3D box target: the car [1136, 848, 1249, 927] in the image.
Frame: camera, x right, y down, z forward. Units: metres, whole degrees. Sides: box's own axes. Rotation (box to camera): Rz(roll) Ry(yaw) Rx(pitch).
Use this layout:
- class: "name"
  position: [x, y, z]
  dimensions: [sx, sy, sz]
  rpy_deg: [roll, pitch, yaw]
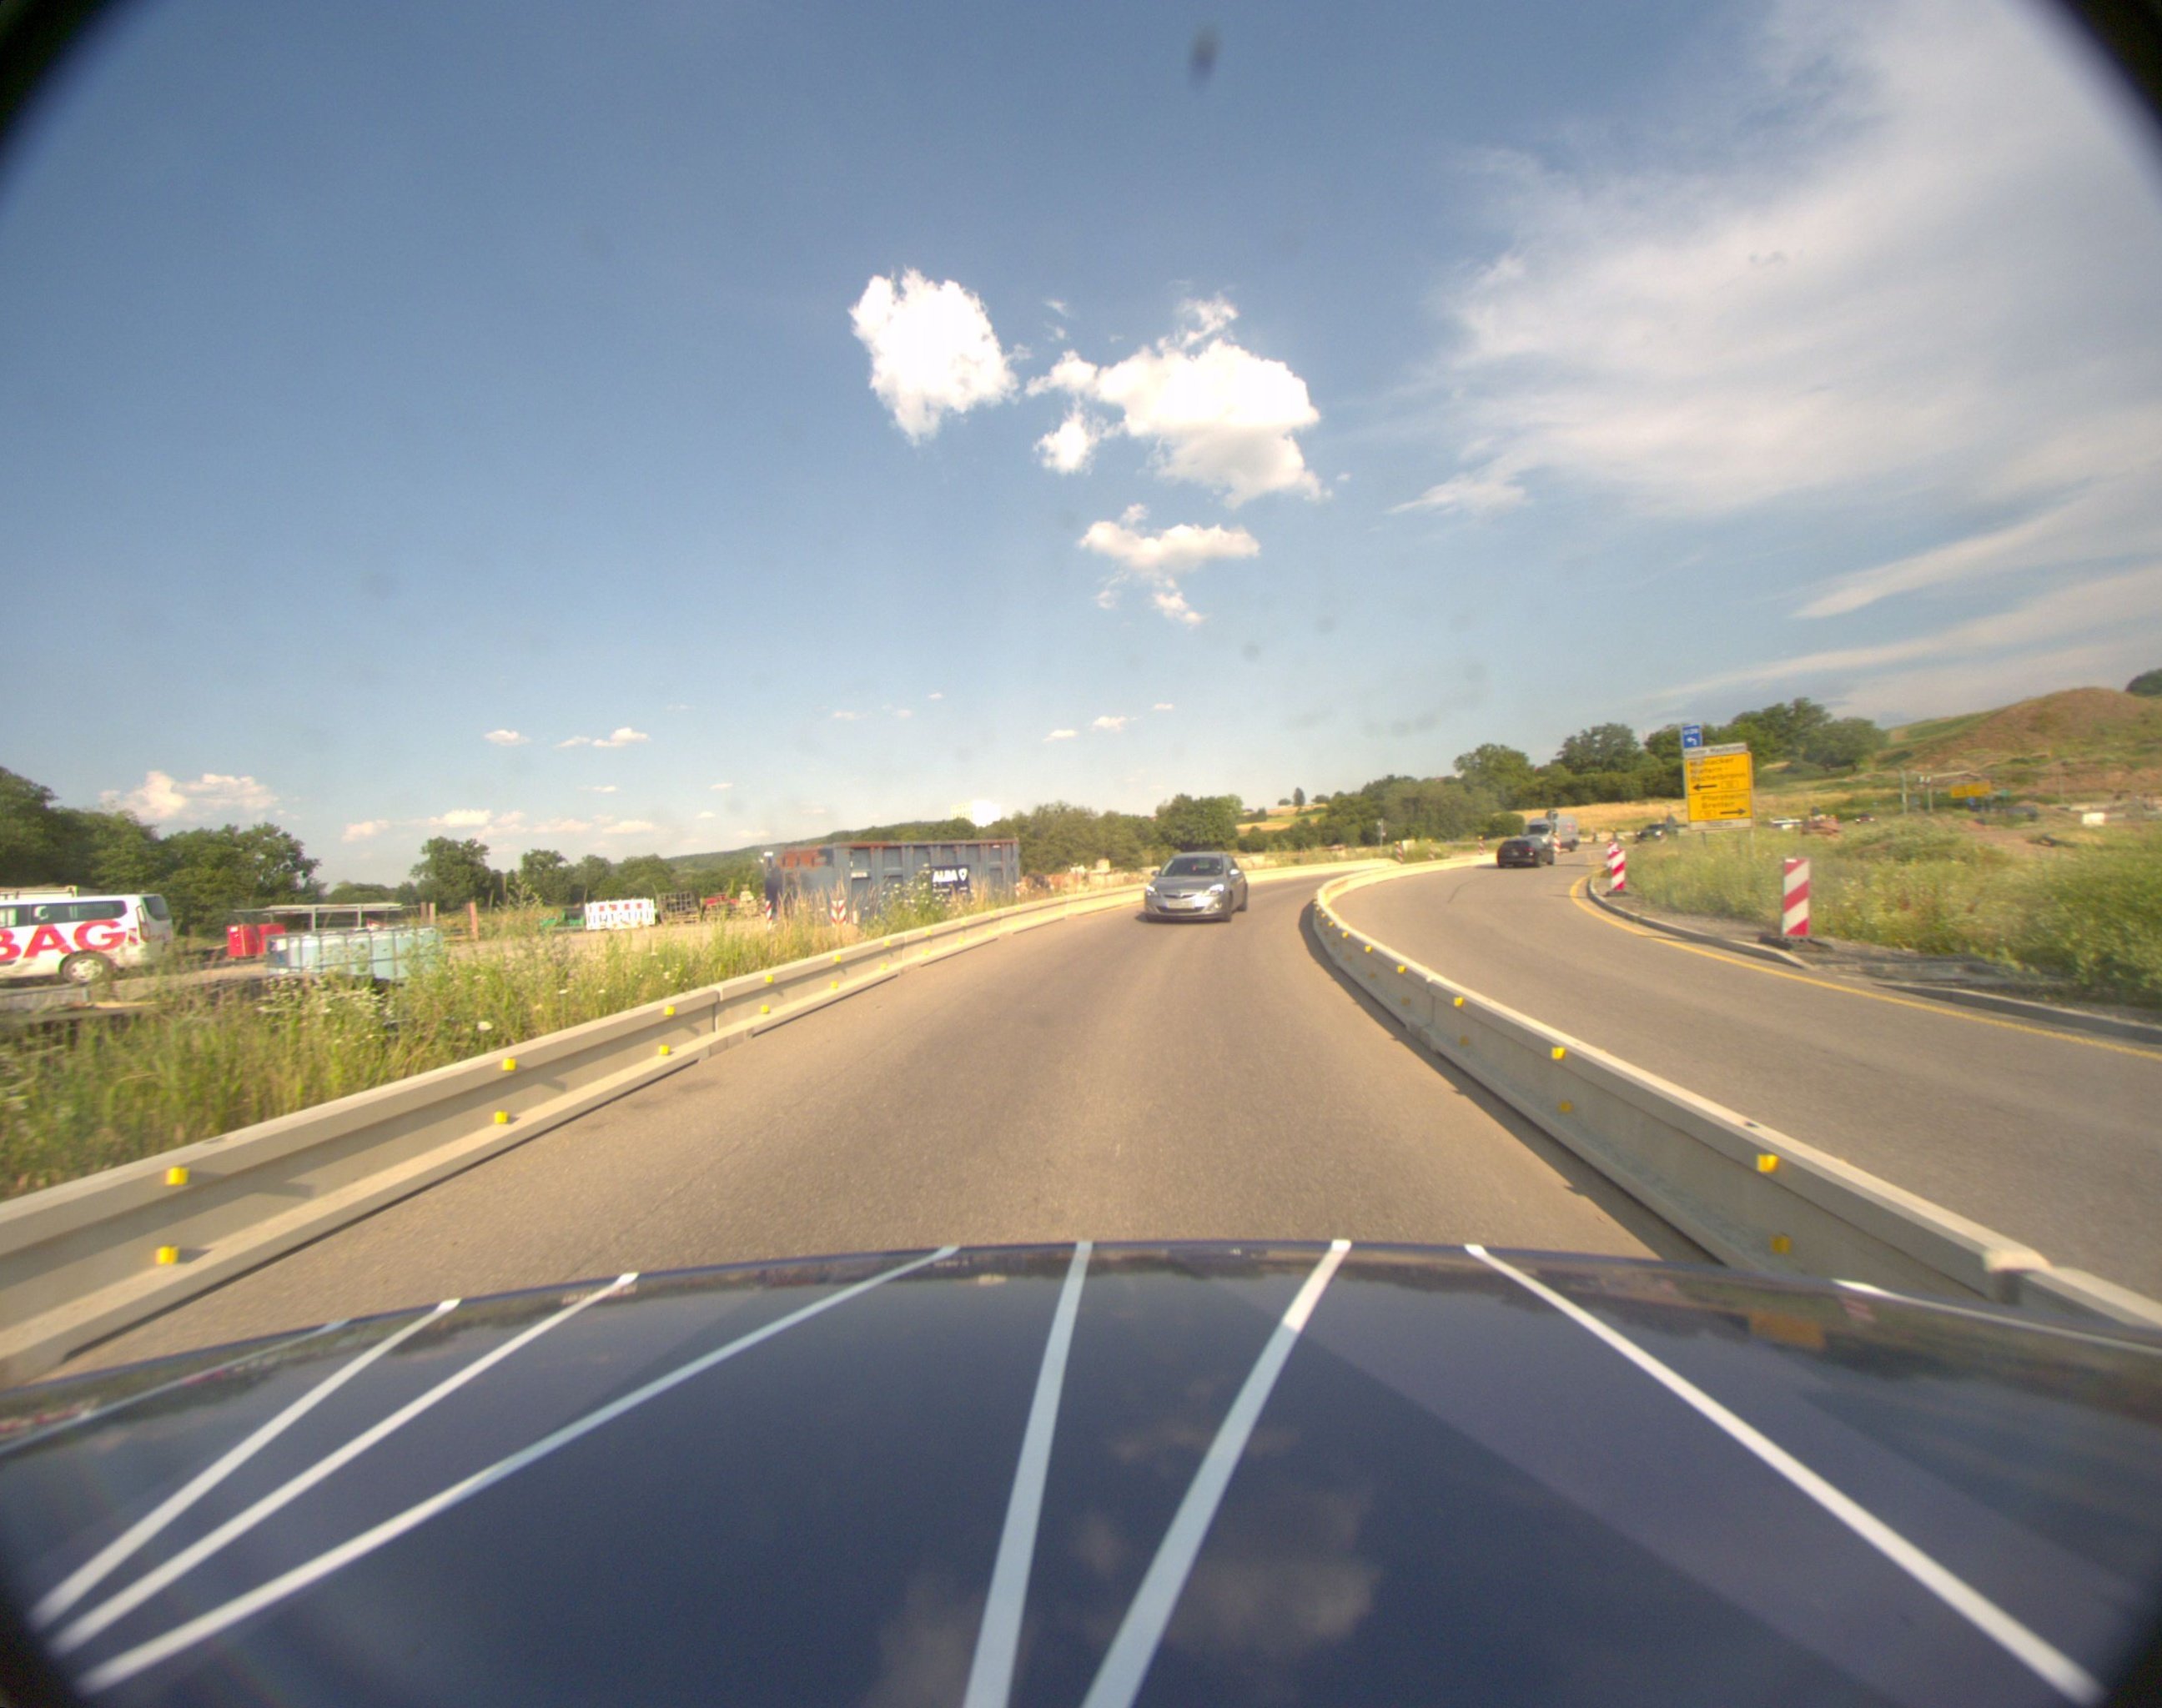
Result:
- class: "car"
  position: [2.630, 0.667, 17.040]
  dimensions: [1.745, 1.476, 4.257]
  rpy_deg: [-3, 0, 18]

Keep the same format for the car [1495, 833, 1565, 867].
- class: "car"
  position: [22.026, -0.215, 37.211]
  dimensions: [4.523, 1.510, 1.711]
  rpy_deg: [-3, 2, -43]

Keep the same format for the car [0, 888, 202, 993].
- class: "car"
  position: [-24.197, 1.991, 17.068]
  dimensions: [5.329, 2.067, 2.481]
  rpy_deg: [-3, 1, -38]

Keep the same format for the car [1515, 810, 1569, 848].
- class: "car"
  position: [32.655, -1.813, 53.709]
  dimensions: [1.912, 2.486, 5.808]
  rpy_deg: [-2, 1, 44]

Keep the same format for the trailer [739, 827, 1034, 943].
- class: "trailer"
  position: [-4.594, 0.629, 19.737]
  dimensions: [3.006, 2.400, 7.241]
  rpy_deg: [-4, 0, 31]

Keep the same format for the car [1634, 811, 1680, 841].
- class: "car"
  position: [50.410, -2.466, 66.480]
  dimensions: [4.006, 2.389, 1.872]
  rpy_deg: [-3, 1, -33]
